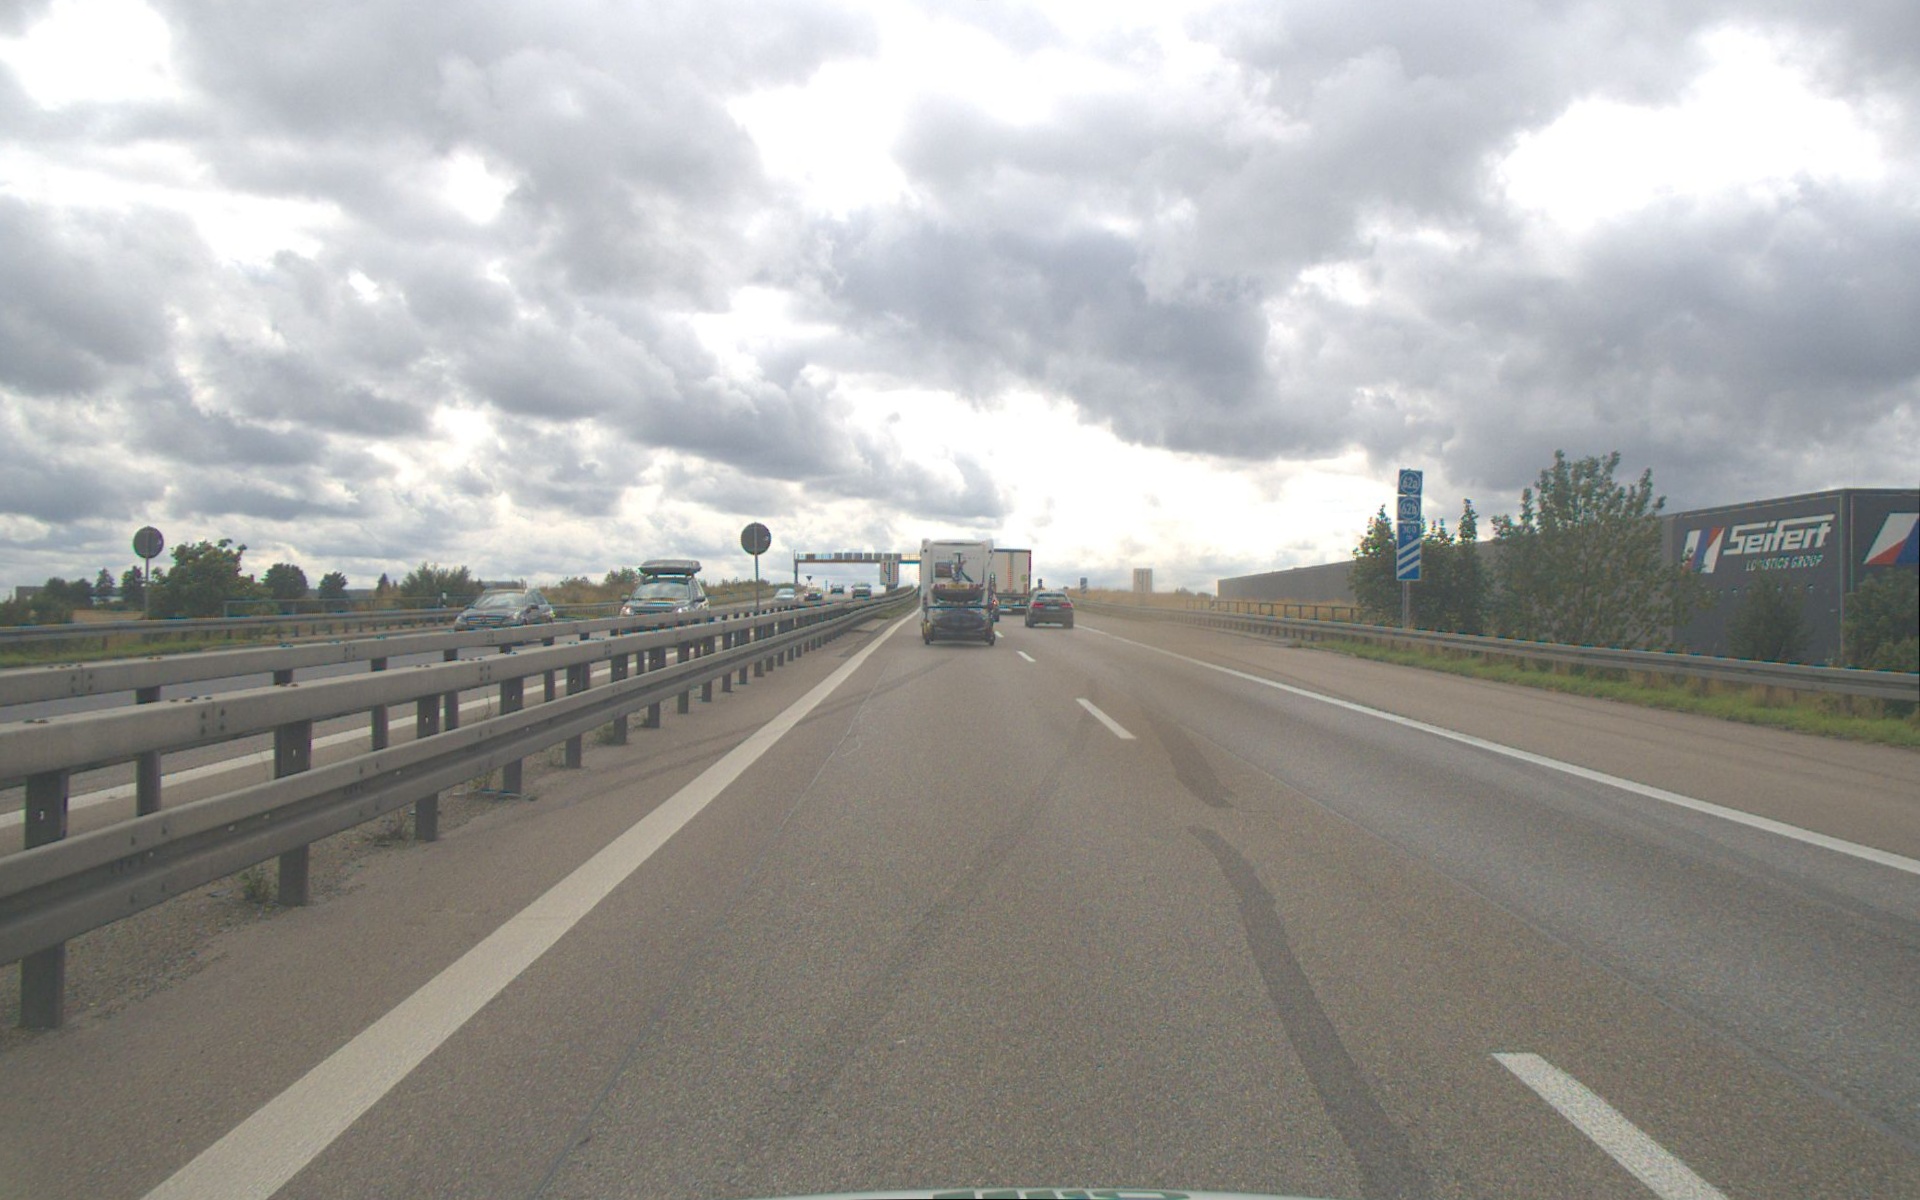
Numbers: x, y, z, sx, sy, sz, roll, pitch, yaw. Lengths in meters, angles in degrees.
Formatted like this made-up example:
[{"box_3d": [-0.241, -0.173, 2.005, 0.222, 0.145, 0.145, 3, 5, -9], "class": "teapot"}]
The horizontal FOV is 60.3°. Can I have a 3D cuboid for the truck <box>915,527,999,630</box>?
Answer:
[{"box_3d": [-0.087, -0.590, 51.281, 2.431, 3.002, 5.814, 0, -1, 0], "class": "truck"}]

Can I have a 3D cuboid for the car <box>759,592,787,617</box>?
[{"box_3d": [-14.188, 0.345, 125.801, 1.716, 1.817, 3.999, 0, -1, -1], "class": "car"}]

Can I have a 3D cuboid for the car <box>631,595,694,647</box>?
[{"box_3d": [-12.192, 0.866, 68.087, 1.953, 2.049, 4.381, 0, -1, -3], "class": "car"}]

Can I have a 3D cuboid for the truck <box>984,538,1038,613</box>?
[{"box_3d": [3.225, -1.468, 105.827, 3.180, 4.605, 7.065, 0, -1, -1], "class": "truck"}]

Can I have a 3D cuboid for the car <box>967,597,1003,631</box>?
[{"box_3d": [1.157, 0.678, 78.634, 1.657, 1.547, 4.000, 0, -1, 0], "class": "car"}]

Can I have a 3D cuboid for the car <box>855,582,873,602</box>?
[{"box_3d": [-10.025, -0.821, 172.948, 1.679, 1.932, 3.999, 0, -1, -1], "class": "car"}]

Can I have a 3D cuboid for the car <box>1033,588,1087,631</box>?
[{"box_3d": [3.939, 0.374, 65.699, 1.844, 1.649, 3.999, 0, -1, -1], "class": "car"}]

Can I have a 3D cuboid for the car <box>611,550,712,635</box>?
[{"box_3d": [-7.667, -0.211, 42.876, 1.953, 2.049, 4.382, 1, 1, -3], "class": "car"}]

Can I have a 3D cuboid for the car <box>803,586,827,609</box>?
[{"box_3d": [-13.292, -0.254, 151.920, 1.855, 2.049, 3.999, 0, -1, -1], "class": "car"}]

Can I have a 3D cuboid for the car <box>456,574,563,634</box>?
[{"box_3d": [-11.936, 0.081, 44.111, 1.721, 1.494, 4.559, 1, 1, -2], "class": "car"}]

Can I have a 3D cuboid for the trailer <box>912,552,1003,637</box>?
[{"box_3d": [-0.002, -0.119, 44.168, 2.290, 2.174, 4.001, 0, -1, 2], "class": "trailer"}]
